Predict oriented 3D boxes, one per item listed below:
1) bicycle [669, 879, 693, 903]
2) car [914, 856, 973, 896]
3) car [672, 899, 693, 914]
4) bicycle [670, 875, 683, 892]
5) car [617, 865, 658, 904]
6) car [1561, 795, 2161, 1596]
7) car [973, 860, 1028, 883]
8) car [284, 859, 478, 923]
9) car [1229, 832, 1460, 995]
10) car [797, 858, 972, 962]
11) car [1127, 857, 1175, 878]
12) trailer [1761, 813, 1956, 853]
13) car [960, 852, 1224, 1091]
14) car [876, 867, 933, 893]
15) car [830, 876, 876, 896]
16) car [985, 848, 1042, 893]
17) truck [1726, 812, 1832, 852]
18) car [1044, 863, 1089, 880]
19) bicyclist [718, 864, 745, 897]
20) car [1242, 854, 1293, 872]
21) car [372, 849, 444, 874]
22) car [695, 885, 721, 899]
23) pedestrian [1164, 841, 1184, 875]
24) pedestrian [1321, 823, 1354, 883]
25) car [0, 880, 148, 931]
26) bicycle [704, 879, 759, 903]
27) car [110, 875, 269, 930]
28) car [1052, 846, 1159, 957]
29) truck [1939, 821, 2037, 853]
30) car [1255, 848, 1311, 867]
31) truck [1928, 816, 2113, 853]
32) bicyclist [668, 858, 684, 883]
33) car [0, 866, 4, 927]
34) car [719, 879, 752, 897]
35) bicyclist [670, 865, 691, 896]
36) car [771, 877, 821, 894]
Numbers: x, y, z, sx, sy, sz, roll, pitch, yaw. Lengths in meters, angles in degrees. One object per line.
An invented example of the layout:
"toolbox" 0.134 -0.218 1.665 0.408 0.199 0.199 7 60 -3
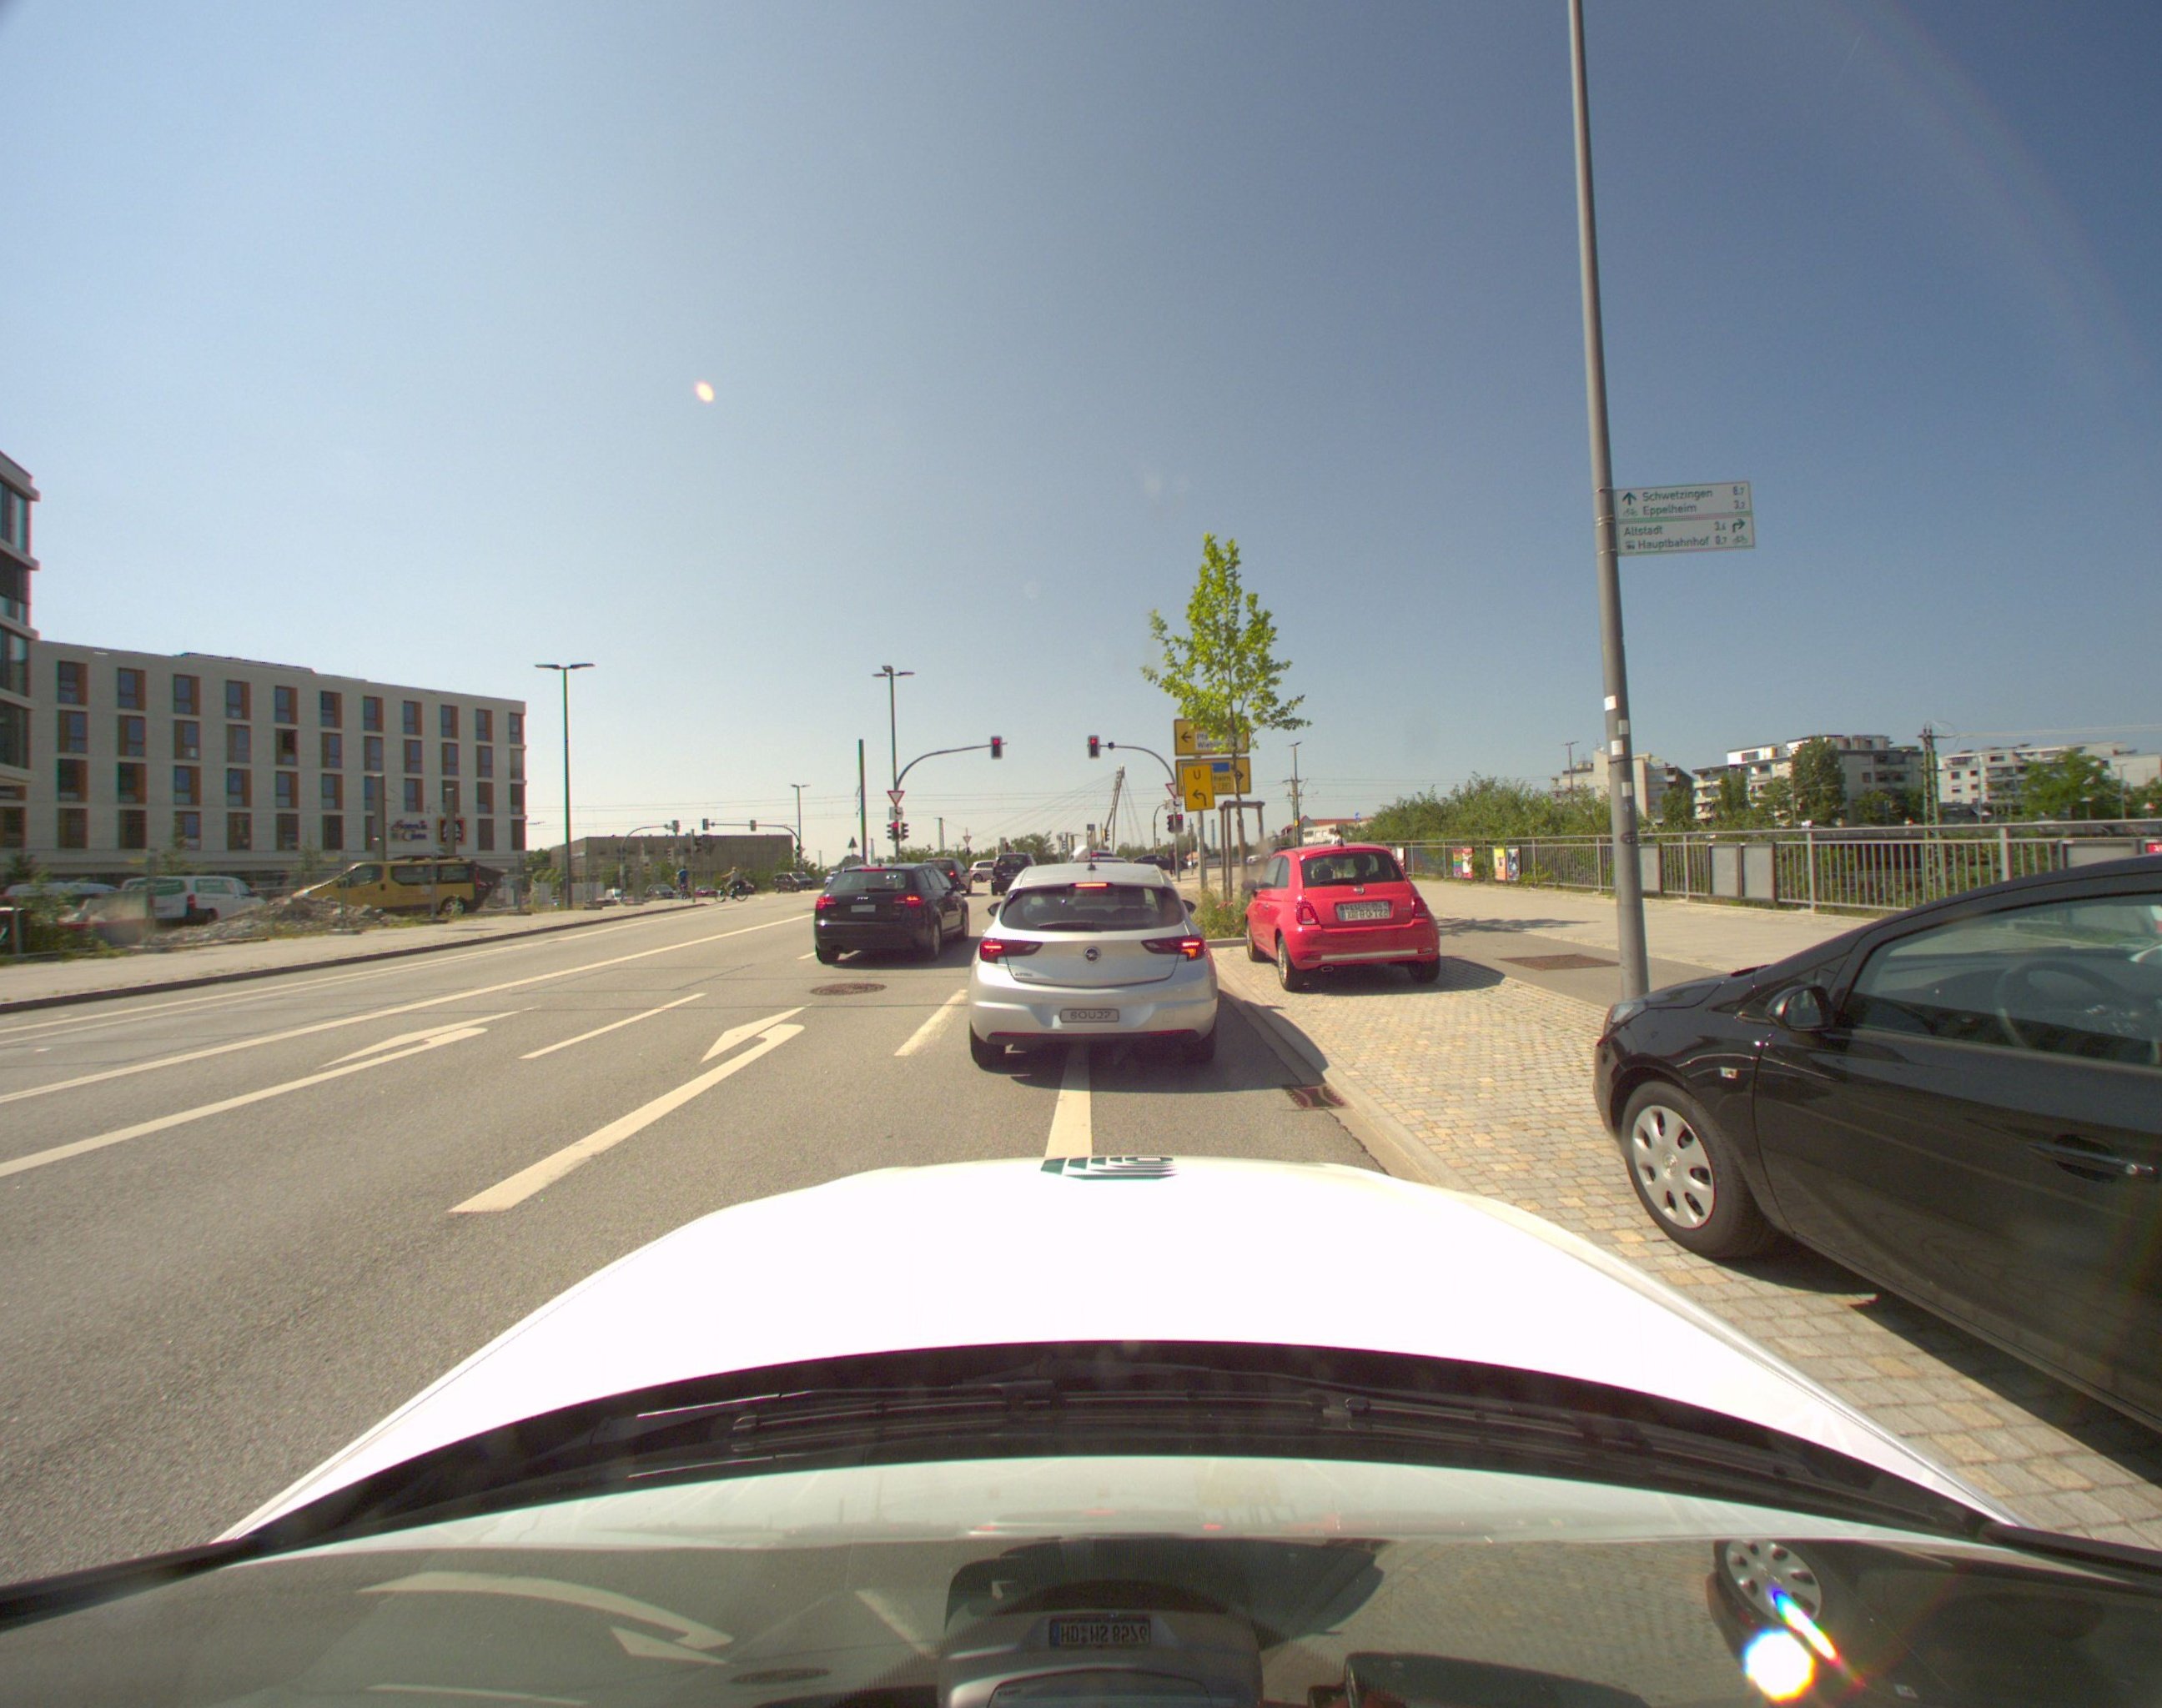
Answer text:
"bicycle" -20.382 1.864 41.454 0.731 1.134 2.506 -7 2 -32
"car" -5.214 0.825 31.215 1.581 1.395 3.340 -1 -1 1
"car" -57.805 7.574 117.990 2.009 2.014 3.955 1 -1 -37
"bicycle" -24.227 1.747 48.794 0.607 1.007 2.489 0 -1 -29
"car" -24.256 1.641 44.483 1.681 2.014 3.959 1 -1 -32
"car" 2.876 0.638 1.740 1.576 1.555 3.548 -4 0 1
"car" -5.864 1.286 59.723 3.801 1.629 1.858 0 -1 2
"car" -22.664 1.139 26.526 1.974 1.890 4.514 -1 -1 40
"car" 2.987 0.570 10.102 1.663 1.539 3.919 -3 1 2
"car" -2.924 0.787 13.017 1.699 1.412 4.001 0 -1 2
"car" 5.408 1.032 63.237 3.498 1.641 1.799 0 -1 -2
"trailer" 68.080 -1.773 71.258 17.225 3.204 3.723 0 -1 -14
"car" 0.119 0.773 7.409 1.685 1.520 4.271 -1 0 1
"car" -14.250 2.070 65.884 3.954 2.014 2.010 -1 -1 19
"car" -17.643 2.448 62.932 3.115 1.439 1.595 -1 -1 24
"car" -2.574 0.639 31.870 1.797 1.622 3.917 -1 -1 1
"truck" 59.073 -1.779 68.986 6.478 3.204 3.721 0 -1 -14
"car" -1.379 1.641 76.421 4.183 1.645 1.832 0 -1 -1
"bicyclist" -16.806 1.270 39.174 0.941 1.569 0.823 0 -1 3
"car" 17.639 0.836 77.121 4.254 1.673 1.989 -1 -1 -16
"car" -54.336 0.600 65.809 3.990 2.014 1.991 0 -1 -12
"car" -41.063 4.157 89.685 1.693 1.455 3.954 1 -1 -39
"pedestrian" 5.127 0.234 44.897 0.744 1.863 0.747 -1 -2 41
"pedestrian" 7.941 -0.036 25.274 0.755 1.830 0.885 0 -1 1
"car" -33.700 1.670 27.283 1.809 1.508 3.965 0 -1 -27
"bicycle" -16.811 1.759 39.161 2.348 1.127 0.678 0 -1 2
"car" -31.058 1.612 28.600 2.003 1.707 4.526 0 -1 -23
"car" 0.409 0.753 14.286 1.629 1.674 3.745 0 -1 1
"truck" 92.774 -1.678 83.291 9.889 3.158 2.492 0 -1 -15
"car" 15.274 0.250 61.585 3.773 1.390 1.661 0 -1 -9
"truck" 88.477 -1.742 76.667 17.857 3.204 3.723 0 -1 -14
"bicyclist" -24.237 0.995 48.774 0.846 1.502 0.653 1 -1 -28
"car" -36.226 1.386 25.012 2.220 2.056 4.133 0 -1 -28
"car" -34.457 3.370 81.158 1.727 1.741 4.160 1 -1 -44
"bicyclist" -20.349 1.350 41.380 0.866 1.560 0.816 1 -1 -32
"car" -25.407 2.761 72.570 4.428 1.455 2.013 -1 -1 35
